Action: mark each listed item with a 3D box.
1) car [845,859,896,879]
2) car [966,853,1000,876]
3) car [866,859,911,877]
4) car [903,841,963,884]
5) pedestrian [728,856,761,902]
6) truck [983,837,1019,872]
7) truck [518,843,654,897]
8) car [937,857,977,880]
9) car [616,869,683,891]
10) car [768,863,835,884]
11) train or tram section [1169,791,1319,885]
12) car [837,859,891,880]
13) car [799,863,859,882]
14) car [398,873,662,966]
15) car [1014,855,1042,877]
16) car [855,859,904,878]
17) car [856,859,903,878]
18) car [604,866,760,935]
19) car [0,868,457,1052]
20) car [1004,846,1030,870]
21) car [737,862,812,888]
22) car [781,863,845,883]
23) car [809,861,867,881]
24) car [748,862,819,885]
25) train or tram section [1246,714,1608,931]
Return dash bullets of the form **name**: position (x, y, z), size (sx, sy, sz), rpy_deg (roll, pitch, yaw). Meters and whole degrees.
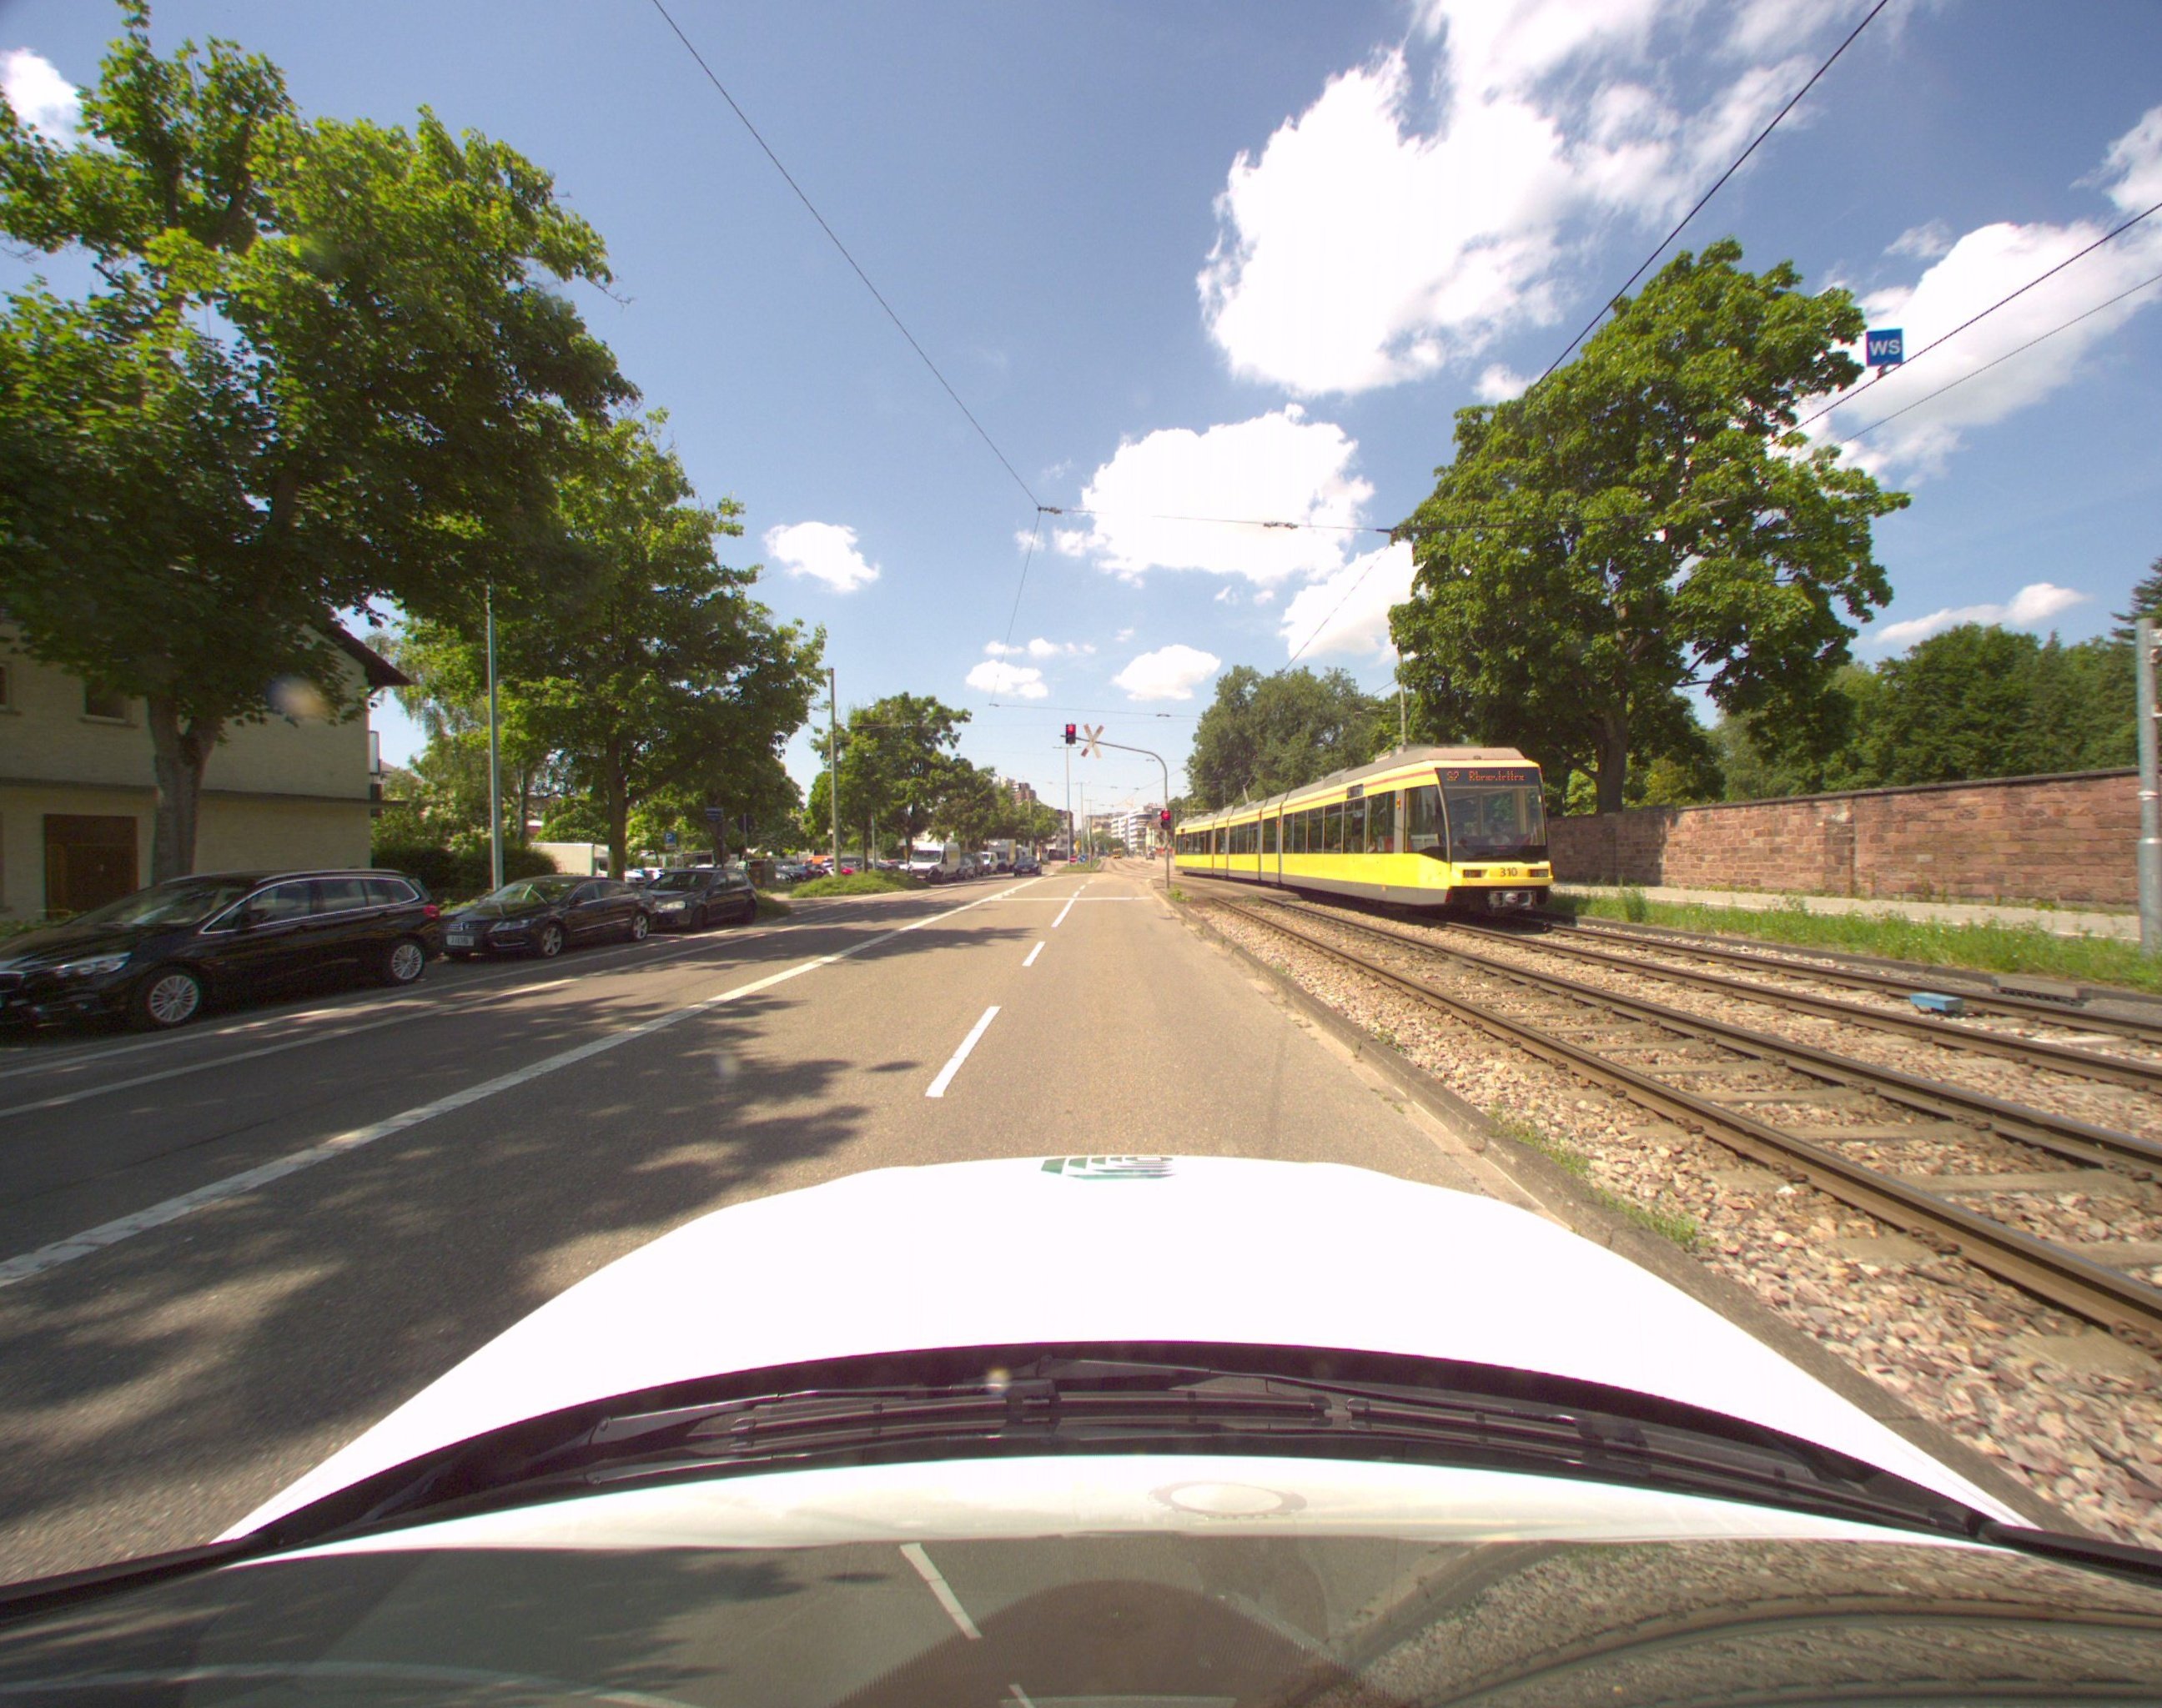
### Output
- **car**: position (-18.540, 1.330, 71.799), size (3.973, 1.606, 1.805), rpy_deg (-2, 0, 0)
- **car**: position (-8.279, 0.861, 69.497), size (2.053, 1.898, 4.874), rpy_deg (-2, 0, 3)
- **car**: position (-18.838, 1.364, 79.864), size (3.973, 1.606, 1.805), rpy_deg (-2, 0, 0)
- **car**: position (-8.997, 0.460, 50.092), size (2.147, 2.487, 6.200), rpy_deg (0, 0, 4)
- **pedestrian**: position (-13.883, 1.026, 33.594), size (0.971, 1.823, 0.794), rpy_deg (-2, 0, -1)
- **truck**: position (-7.571, 0.016, 78.237), size (2.147, 3.210, 7.090), rpy_deg (2, 0, 4)
- **truck**: position (-31.806, 1.001, 52.495), size (7.164, 3.228, 2.332), rpy_deg (-2, 0, -1)
- **car**: position (-8.519, 0.977, 56.386), size (1.861, 1.437, 4.345), rpy_deg (-2, 0, 2)
- **car**: position (-31.768, 1.903, 60.028), size (3.973, 1.442, 1.805), rpy_deg (-2, 0, 0)
- **car**: position (-19.527, 1.364, 56.990), size (3.973, 1.339, 1.805), rpy_deg (-2, 0, 0)
- **train or tram section**: position (7.561, -0.668, 42.337), size (2.936, 3.692, 20.265), rpy_deg (0, 0, -2)
- **car**: position (-17.973, 1.297, 67.556), size (3.973, 1.606, 1.805), rpy_deg (-2, 0, 0)
- **car**: position (-19.225, 1.403, 62.186), size (3.973, 1.339, 1.805), rpy_deg (-2, 0, 0)
- **car**: position (-10.051, 1.105, 15.422), size (1.769, 1.373, 4.697), rpy_deg (1, 0, 0)
- **car**: position (-3.821, 0.840, 59.383), size (1.672, 1.398, 4.005), rpy_deg (-4, 0, 0)
- **car**: position (-18.579, 1.356, 75.146), size (3.973, 1.606, 1.805), rpy_deg (-2, 0, 0)
- **car**: position (-19.159, 1.386, 77.435), size (3.973, 1.606, 1.805), rpy_deg (-2, 0, 0)
- **car**: position (-9.731, 1.070, 20.245), size (1.768, 1.481, 4.049), rpy_deg (0, 0, 2)
- **car**: position (-10.200, 1.014, 9.800), size (1.769, 1.604, 4.637), rpy_deg (0, 0, 0)
- **car**: position (-7.280, 0.406, 93.231), size (2.147, 2.639, 5.618), rpy_deg (-1, 0, 4)
- **car**: position (-19.195, 1.297, 51.099), size (3.973, 1.442, 1.805), rpy_deg (-2, 0, 0)
- **car**: position (-19.591, 1.373, 59.631), size (3.973, 1.339, 1.805), rpy_deg (-2, 0, 0)
- **car**: position (-19.165, 1.327, 64.297), size (3.973, 1.442, 1.805), rpy_deg (-2, 0, 1)
- **car**: position (-19.520, 1.252, 53.526), size (3.973, 1.339, 1.805), rpy_deg (-2, 0, 0)
- **train or tram section**: position (7.770, -0.579, 23.107), size (2.932, 3.692, 18.396), rpy_deg (0, 0, 2)
